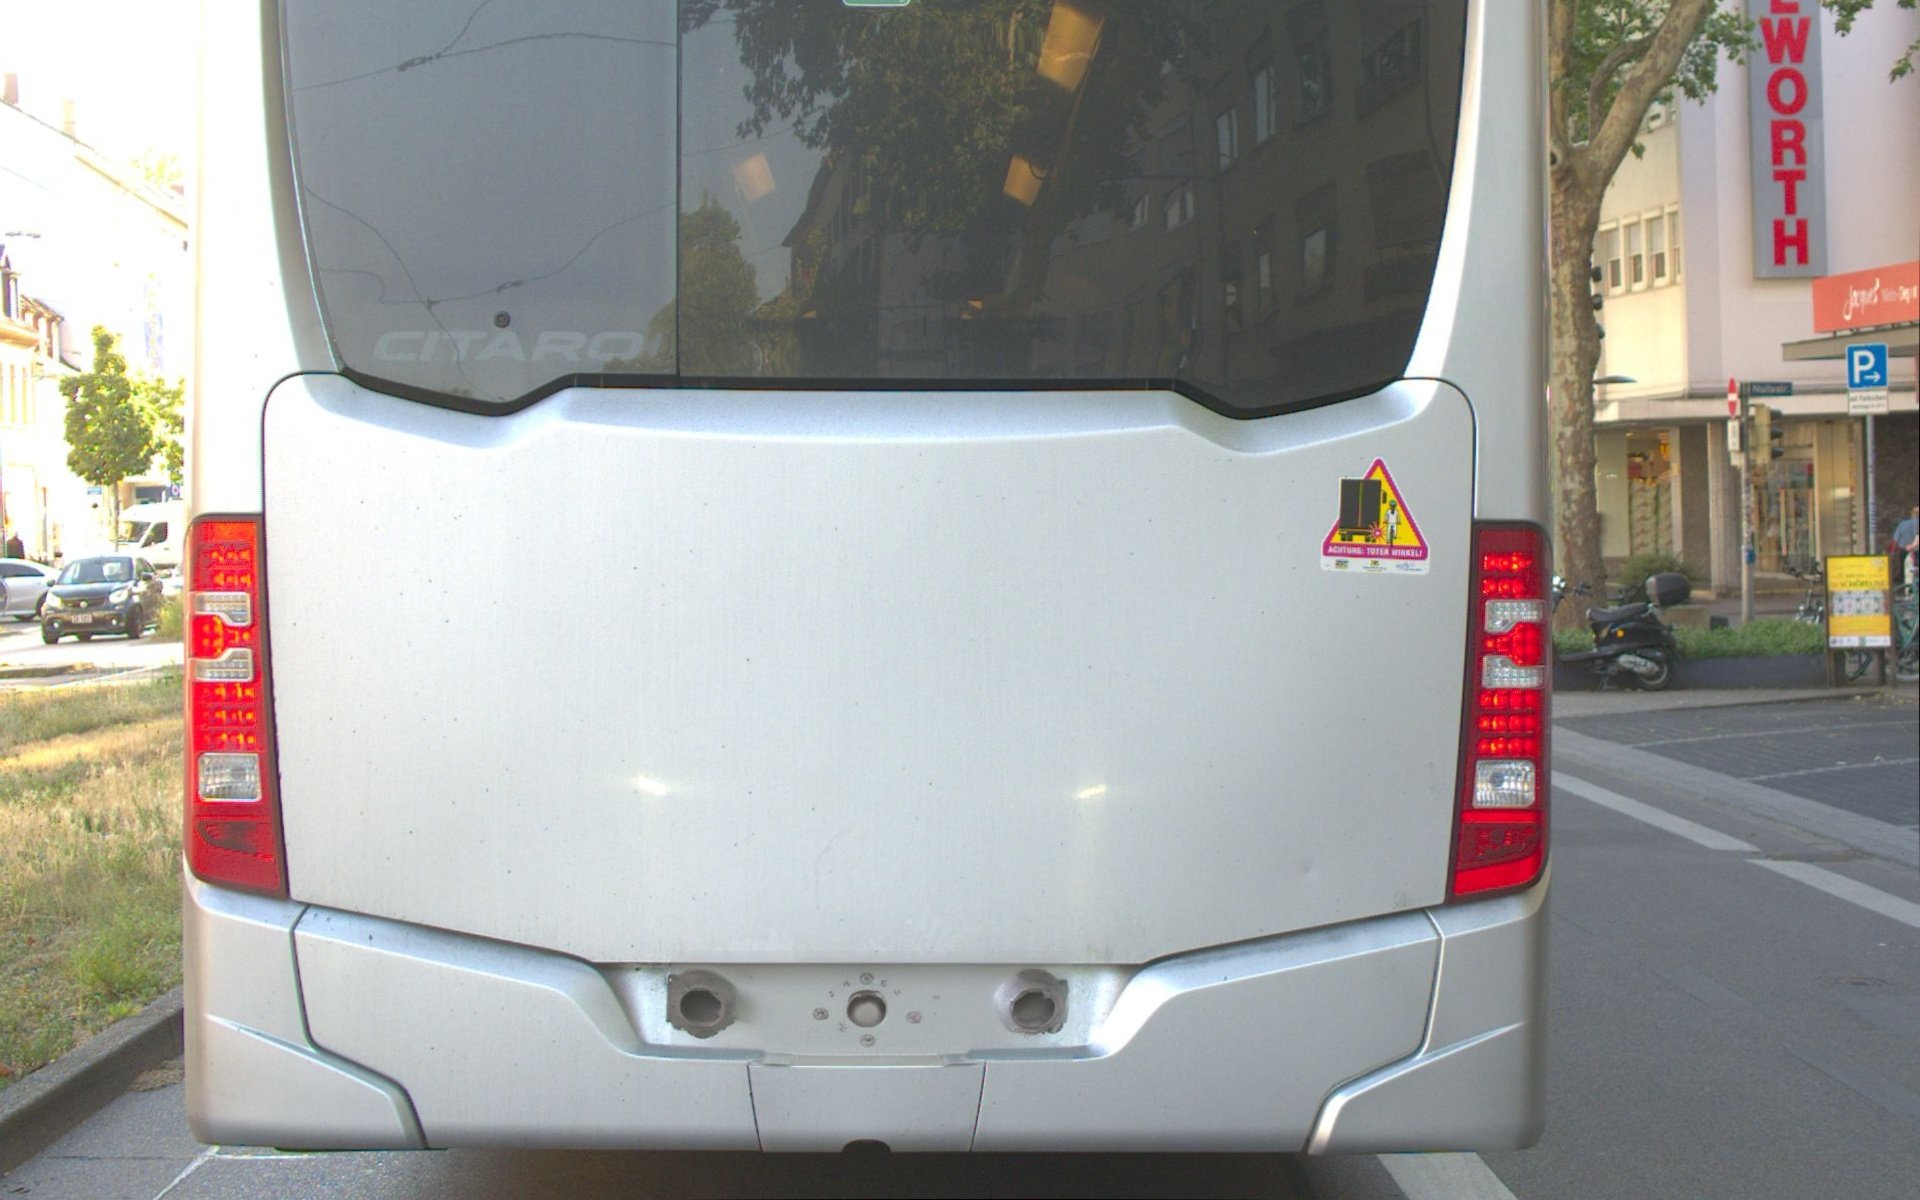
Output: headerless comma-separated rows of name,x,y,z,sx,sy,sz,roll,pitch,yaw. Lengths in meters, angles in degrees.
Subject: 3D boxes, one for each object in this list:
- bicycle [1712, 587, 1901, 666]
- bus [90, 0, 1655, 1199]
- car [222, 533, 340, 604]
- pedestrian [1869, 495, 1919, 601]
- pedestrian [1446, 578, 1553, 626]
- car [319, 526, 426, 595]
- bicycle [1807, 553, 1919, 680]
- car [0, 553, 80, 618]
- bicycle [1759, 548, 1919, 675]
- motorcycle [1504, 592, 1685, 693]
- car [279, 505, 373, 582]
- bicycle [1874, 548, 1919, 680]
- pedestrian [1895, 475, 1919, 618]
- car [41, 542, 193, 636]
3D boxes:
bicycle,8.975,0.278,36.512,1.877,0.762,0.711,-1,3,8
bus,-0.112,-0.223,9.455,2.678,3.073,7.114,0,1,1
car,-15.950,-0.763,80.912,1.780,1.445,4.044,-3,2,2
pedestrian,15.280,-0.855,55.817,0.747,1.673,0.835,-1,3,-6
pedestrian,6.782,0.024,43.202,1.254,0.587,0.482,-1,1,-2
car,-15.153,-1.039,88.848,1.780,1.609,4.508,-3,2,2
bicycle,9.527,0.133,34.502,1.785,1.185,0.672,-4,1,-8
car,-22.172,-0.289,76.520,4.538,1.407,2.000,-2,1,-36
bicycle,9.284,0.108,35.508,1.877,1.185,0.711,-4,1,8
motorcycle,5.953,0.395,32.286,1.570,0.889,0.544,-2,1,-3
car,-17.452,-1.563,94.746,1.993,2.007,4.001,-1,1,-3
bicycle,9.951,0.095,33.075,2.081,1.228,0.831,-2,1,5
pedestrian,12.301,-0.683,43.365,0.780,1.787,0.764,-1,1,0
car,-14.975,-0.220,61.255,1.722,1.504,3.476,-4,1,1
